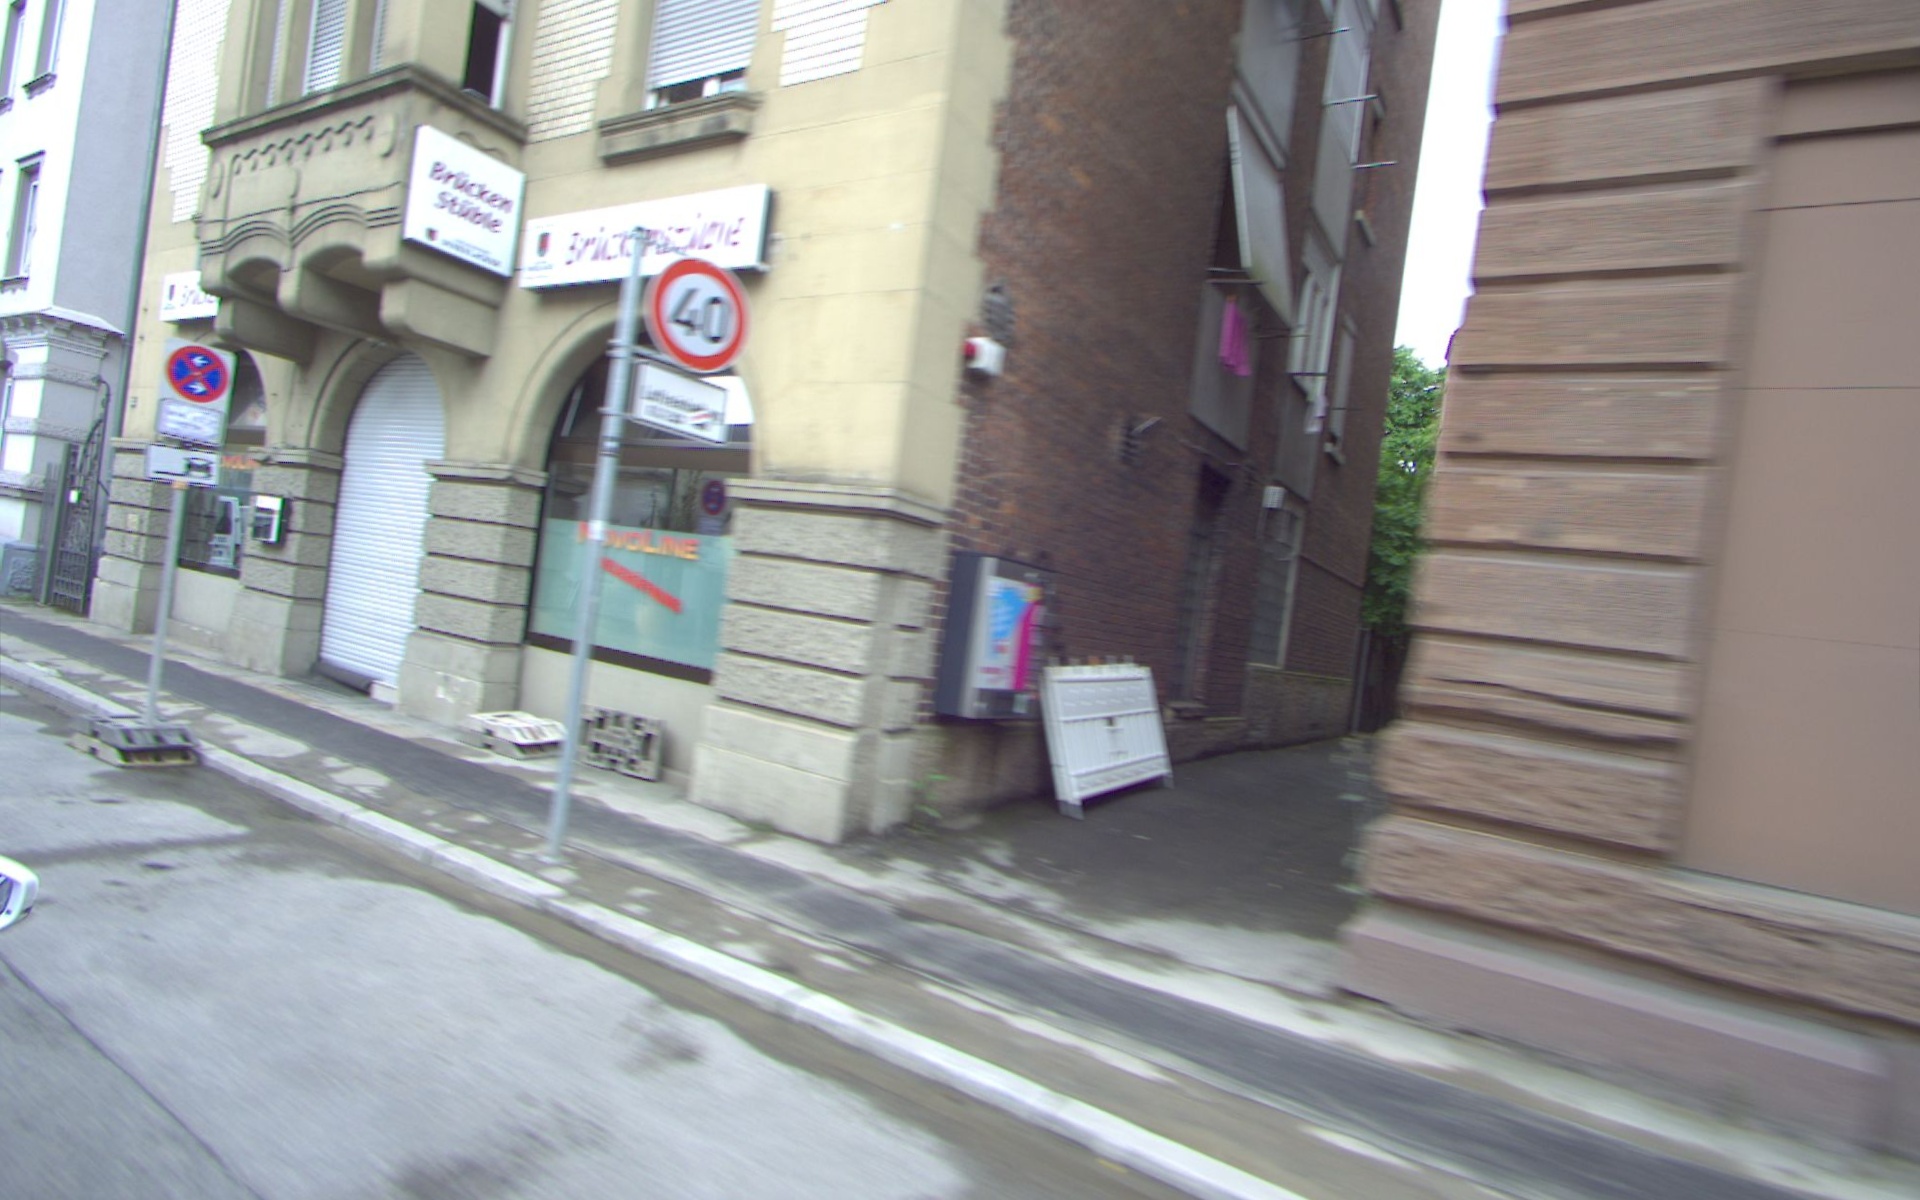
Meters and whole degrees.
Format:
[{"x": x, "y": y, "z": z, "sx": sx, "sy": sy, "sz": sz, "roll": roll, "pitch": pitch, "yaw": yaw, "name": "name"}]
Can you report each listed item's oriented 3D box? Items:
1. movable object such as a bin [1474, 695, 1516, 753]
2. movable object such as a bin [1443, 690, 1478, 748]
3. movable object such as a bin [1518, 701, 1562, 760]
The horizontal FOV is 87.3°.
[{"x": 10.394, "y": 2.402, "z": 19.556, "sx": 0.587, "sy": 1.040, "sz": 0.445, "roll": 8, "pitch": 0, "yaw": 27, "name": "movable object such as a bin"}, {"x": 9.710, "y": 2.304, "z": 19.533, "sx": 0.488, "sy": 1.054, "sz": 0.445, "roll": 8, "pitch": -1, "yaw": 27, "name": "movable object such as a bin"}, {"x": 11.111, "y": 2.487, "z": 19.275, "sx": 0.587, "sy": 1.031, "sz": 0.445, "roll": 8, "pitch": 0, "yaw": 27, "name": "movable object such as a bin"}]
